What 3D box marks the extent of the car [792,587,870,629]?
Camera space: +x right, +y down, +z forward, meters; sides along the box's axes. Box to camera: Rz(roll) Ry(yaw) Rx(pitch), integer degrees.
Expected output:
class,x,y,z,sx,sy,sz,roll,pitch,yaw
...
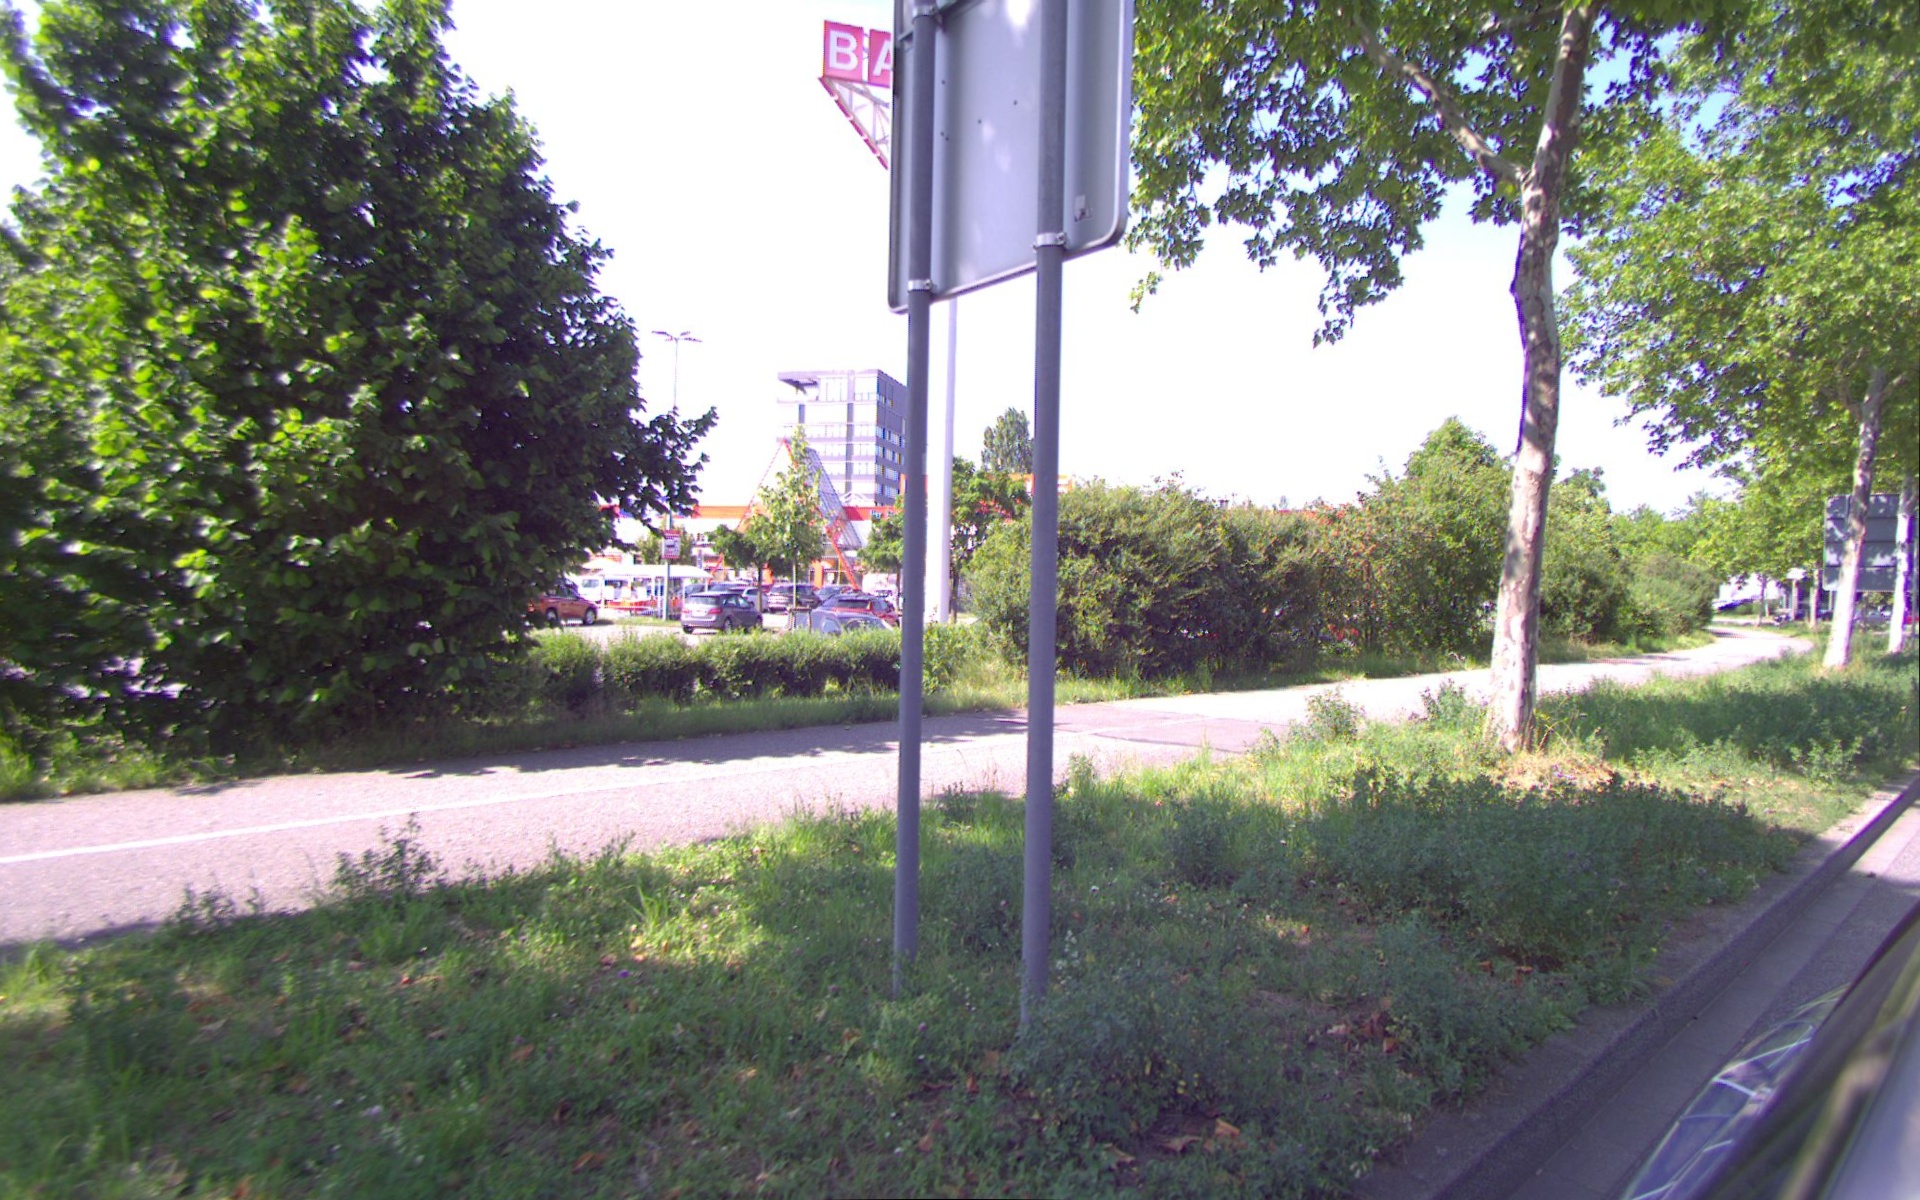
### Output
class,x,y,z,sx,sy,sz,roll,pitch,yaw
car,-5.446,0.320,43.454,1.606,1.648,4.735,3,1,15

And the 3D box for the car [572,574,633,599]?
class,x,y,z,sx,sy,sz,roll,pitch,yaw
car,-21.226,-0.776,60.236,1.582,1.460,3.986,0,0,12

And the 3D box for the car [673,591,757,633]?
class,x,y,z,sx,sy,sz,roll,pitch,yaw
car,-9.315,0.421,38.733,1.752,1.505,3.777,1,0,11

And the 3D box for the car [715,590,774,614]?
class,x,y,z,sx,sy,sz,roll,pitch,yaw
car,-12.173,0.117,57.321,1.583,1.341,3.568,0,0,21

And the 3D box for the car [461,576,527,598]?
class,x,y,z,sx,sy,sz,roll,pitch,yaw
car,-28.909,-0.763,62.919,1.649,1.327,3.725,0,0,18

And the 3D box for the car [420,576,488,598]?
class,x,y,z,sx,sy,sz,roll,pitch,yaw
car,-31.327,-0.764,62.790,1.649,1.327,3.725,0,0,18

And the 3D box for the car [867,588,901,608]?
class,x,y,z,sx,sy,sz,roll,pitch,yaw
car,-5.542,-0.136,74.264,1.546,1.397,3.605,1,0,13

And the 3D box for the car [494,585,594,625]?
class,x,y,z,sx,sy,sz,roll,pitch,yaw
car,-16.604,0.176,40.617,1.766,1.522,4.034,1,0,11

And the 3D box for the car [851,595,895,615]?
class,x,y,z,sx,sy,sz,roll,pitch,yaw
car,-4.751,0.258,55.689,1.496,1.073,3.174,0,0,13

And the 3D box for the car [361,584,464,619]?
class,x,y,z,sx,sy,sz,roll,pitch,yaw
car,-23.139,0.044,42.927,1.713,1.382,3.853,1,0,15

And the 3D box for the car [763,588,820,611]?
class,x,y,z,sx,sy,sz,roll,pitch,yaw
car,-9.449,-0.034,57.018,1.583,1.239,3.568,0,0,21

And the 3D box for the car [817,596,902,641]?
class,x,y,z,sx,sy,sz,roll,pitch,yaw
car,-3.688,0.645,37.946,1.970,1.527,3.984,1,1,14
